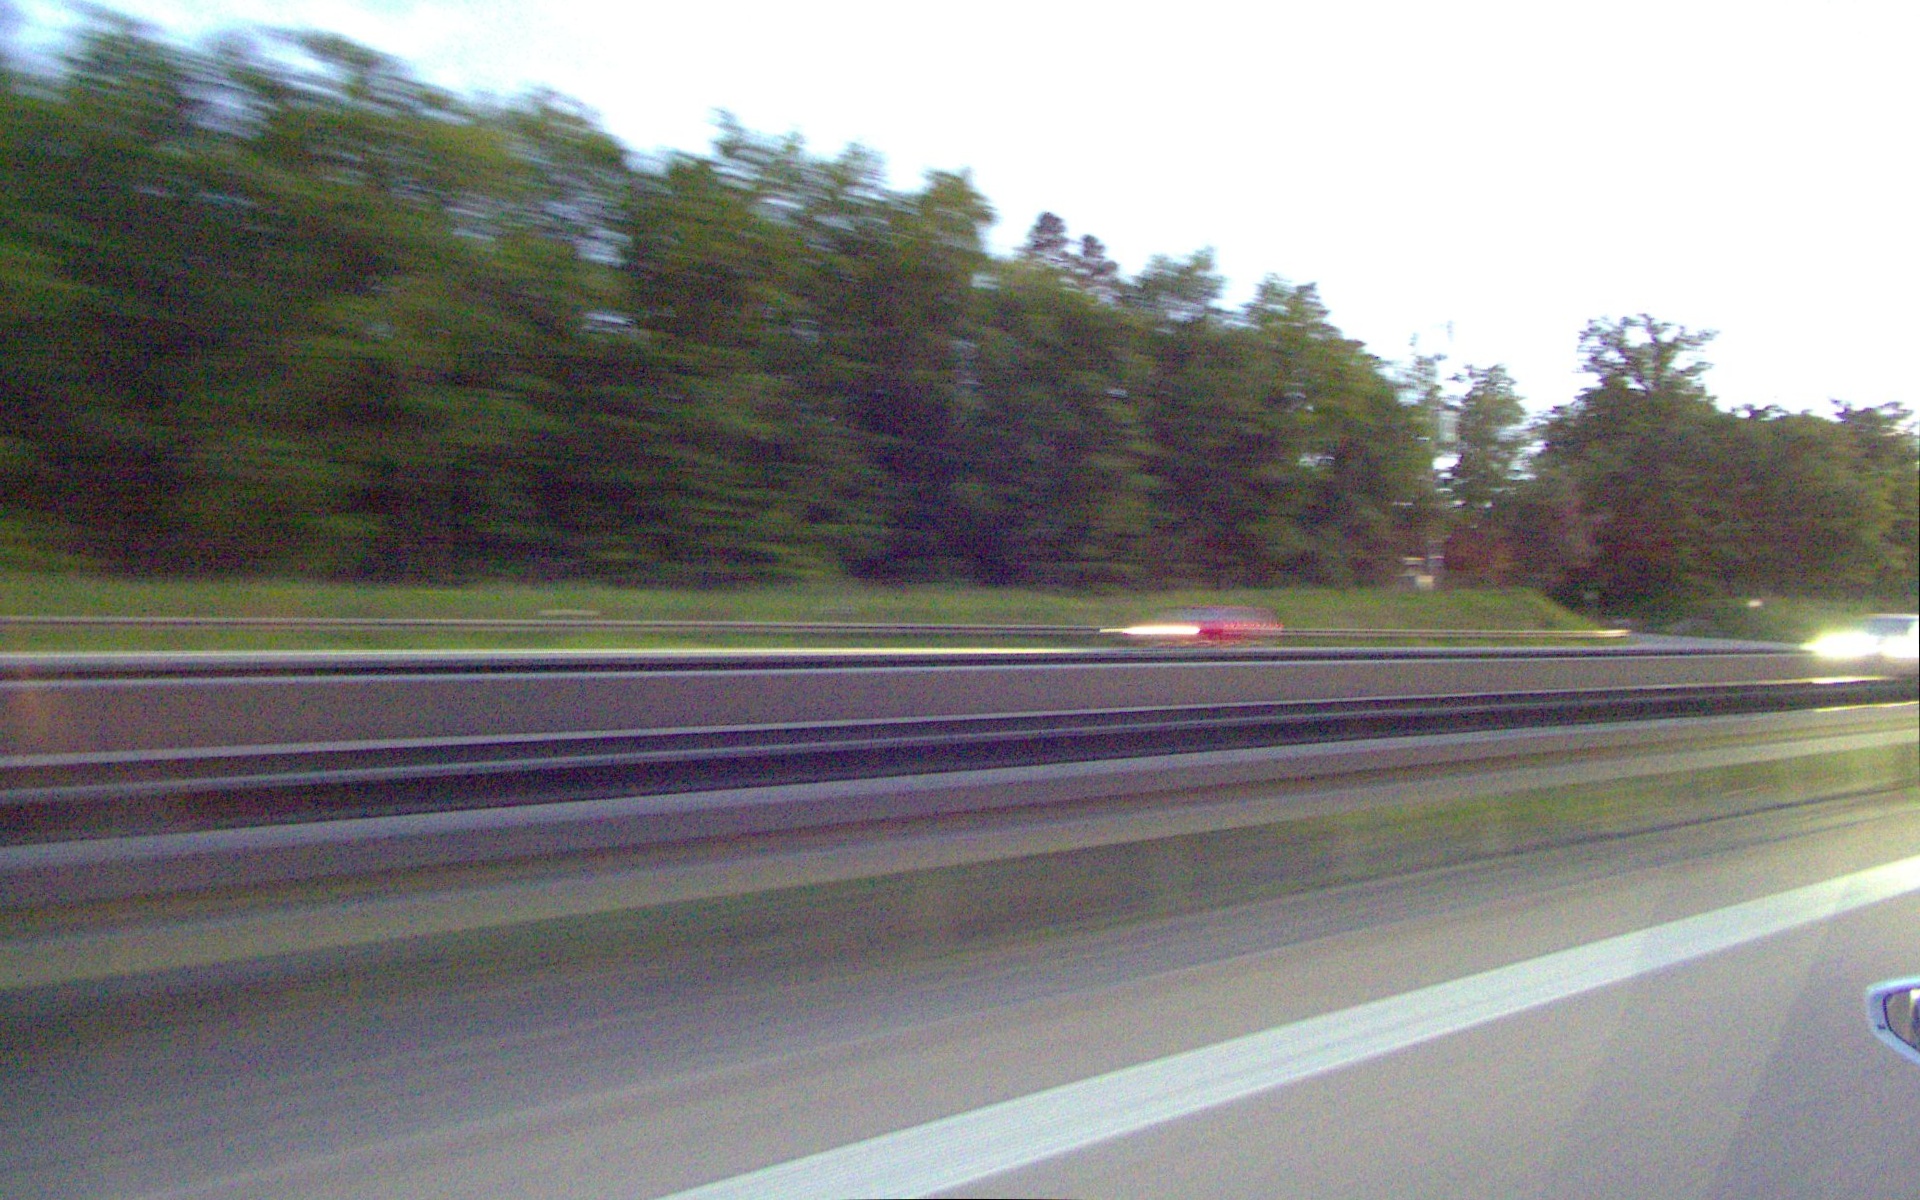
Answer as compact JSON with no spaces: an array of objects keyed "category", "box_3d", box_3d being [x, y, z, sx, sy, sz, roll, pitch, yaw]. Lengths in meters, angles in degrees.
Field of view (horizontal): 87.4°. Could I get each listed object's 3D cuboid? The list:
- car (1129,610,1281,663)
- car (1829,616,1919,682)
[{"category":"car","box_3d":[7.591,1.095,31.006,4.538,1.517,1.842,1,0,-29]},{"category":"car","box_3d":[27.105,1.380,28.747,4.496,1.728,1.984,1,0,-30]}]
